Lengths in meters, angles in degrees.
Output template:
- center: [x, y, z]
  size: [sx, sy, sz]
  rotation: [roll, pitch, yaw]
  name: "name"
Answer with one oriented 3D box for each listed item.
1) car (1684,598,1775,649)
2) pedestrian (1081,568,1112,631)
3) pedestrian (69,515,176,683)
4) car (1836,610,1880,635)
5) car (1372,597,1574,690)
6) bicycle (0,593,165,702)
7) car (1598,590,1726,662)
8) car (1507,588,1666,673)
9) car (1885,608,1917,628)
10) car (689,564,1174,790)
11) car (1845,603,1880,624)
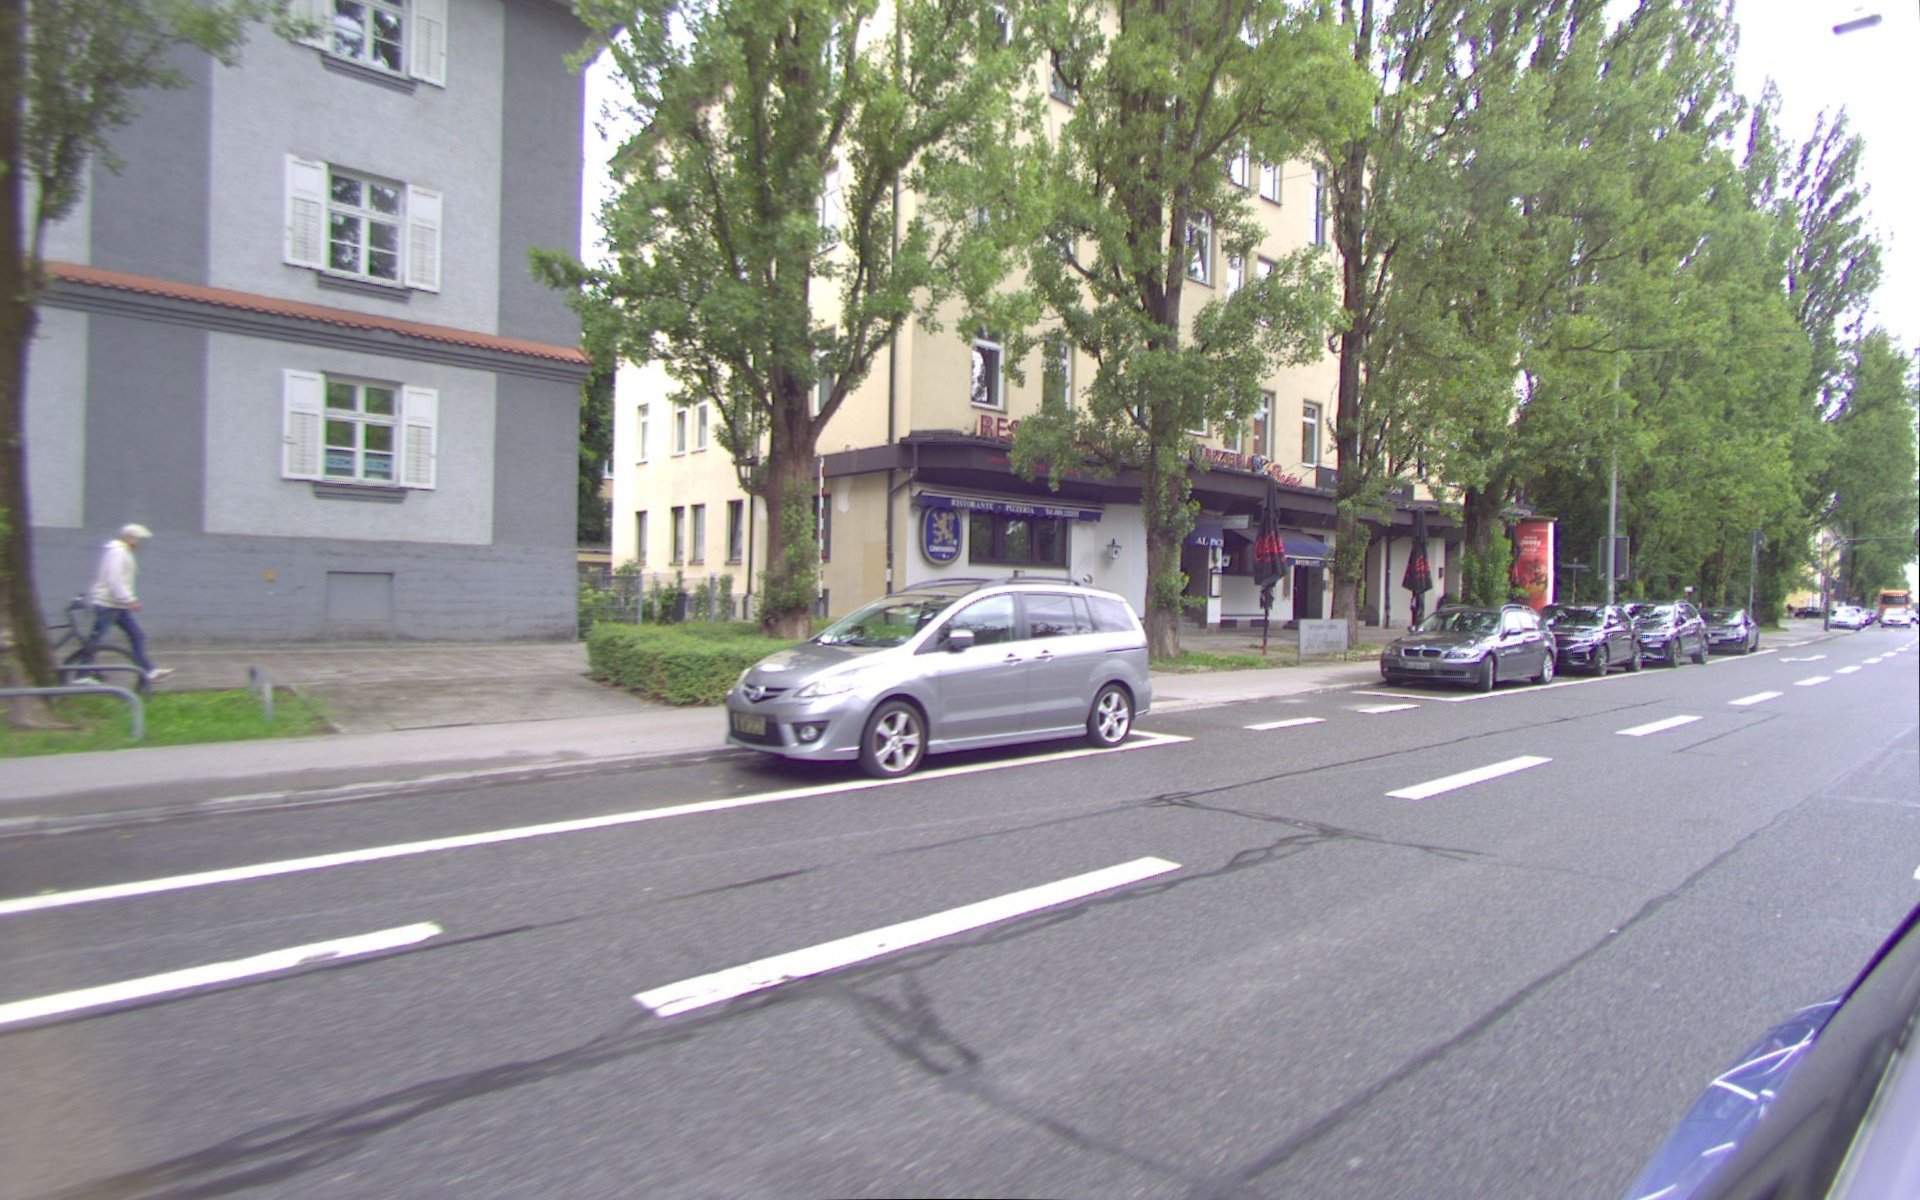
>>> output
- center: [24.415, 0.696, 32.052]
  size: [1.800, 1.484, 3.935]
  rotation: [2, 1, 45]
  name: "car"
- center: [3.532, -0.014, 26.218]
  size: [0.487, 1.582, 0.574]
  rotation: [3, -1, -40]
  name: "pedestrian"
- center: [-9.176, -0.005, 11.105]
  size: [0.809, 1.761, 0.592]
  rotation: [3, -1, -41]
  name: "pedestrian"
- center: [60.661, 1.493, 68.366]
  size: [4.278, 1.504, 1.783]
  rotation: [0, 1, -42]
  name: "car"
- center: [9.281, 0.705, 18.158]
  size: [4.306, 1.416, 1.802]
  rotation: [1, 2, -42]
  name: "car"
- center: [-8.561, 0.462, 9.880]
  size: [1.206, 1.000, 0.355]
  rotation: [3, -1, -41]
  name: "bicycle"
- center: [17.966, 0.625, 25.825]
  size: [4.394, 1.632, 1.724]
  rotation: [1, 1, -42]
  name: "car"
- center: [13.715, 0.605, 22.062]
  size: [4.231, 1.632, 1.802]
  rotation: [1, 1, -42]
  name: "car"
- center: [74.643, 1.399, 80.258]
  size: [1.781, 1.504, 4.073]
  rotation: [2, 1, 44]
  name: "car"
- center: [-0.072, 0.549, 9.559]
  size: [4.469, 1.632, 1.802]
  rotation: [1, 1, -42]
  name: "car"
- center: [68.068, 1.022, 76.312]
  size: [1.781, 1.504, 4.073]
  rotation: [2, 1, 44]
  name: "car"
